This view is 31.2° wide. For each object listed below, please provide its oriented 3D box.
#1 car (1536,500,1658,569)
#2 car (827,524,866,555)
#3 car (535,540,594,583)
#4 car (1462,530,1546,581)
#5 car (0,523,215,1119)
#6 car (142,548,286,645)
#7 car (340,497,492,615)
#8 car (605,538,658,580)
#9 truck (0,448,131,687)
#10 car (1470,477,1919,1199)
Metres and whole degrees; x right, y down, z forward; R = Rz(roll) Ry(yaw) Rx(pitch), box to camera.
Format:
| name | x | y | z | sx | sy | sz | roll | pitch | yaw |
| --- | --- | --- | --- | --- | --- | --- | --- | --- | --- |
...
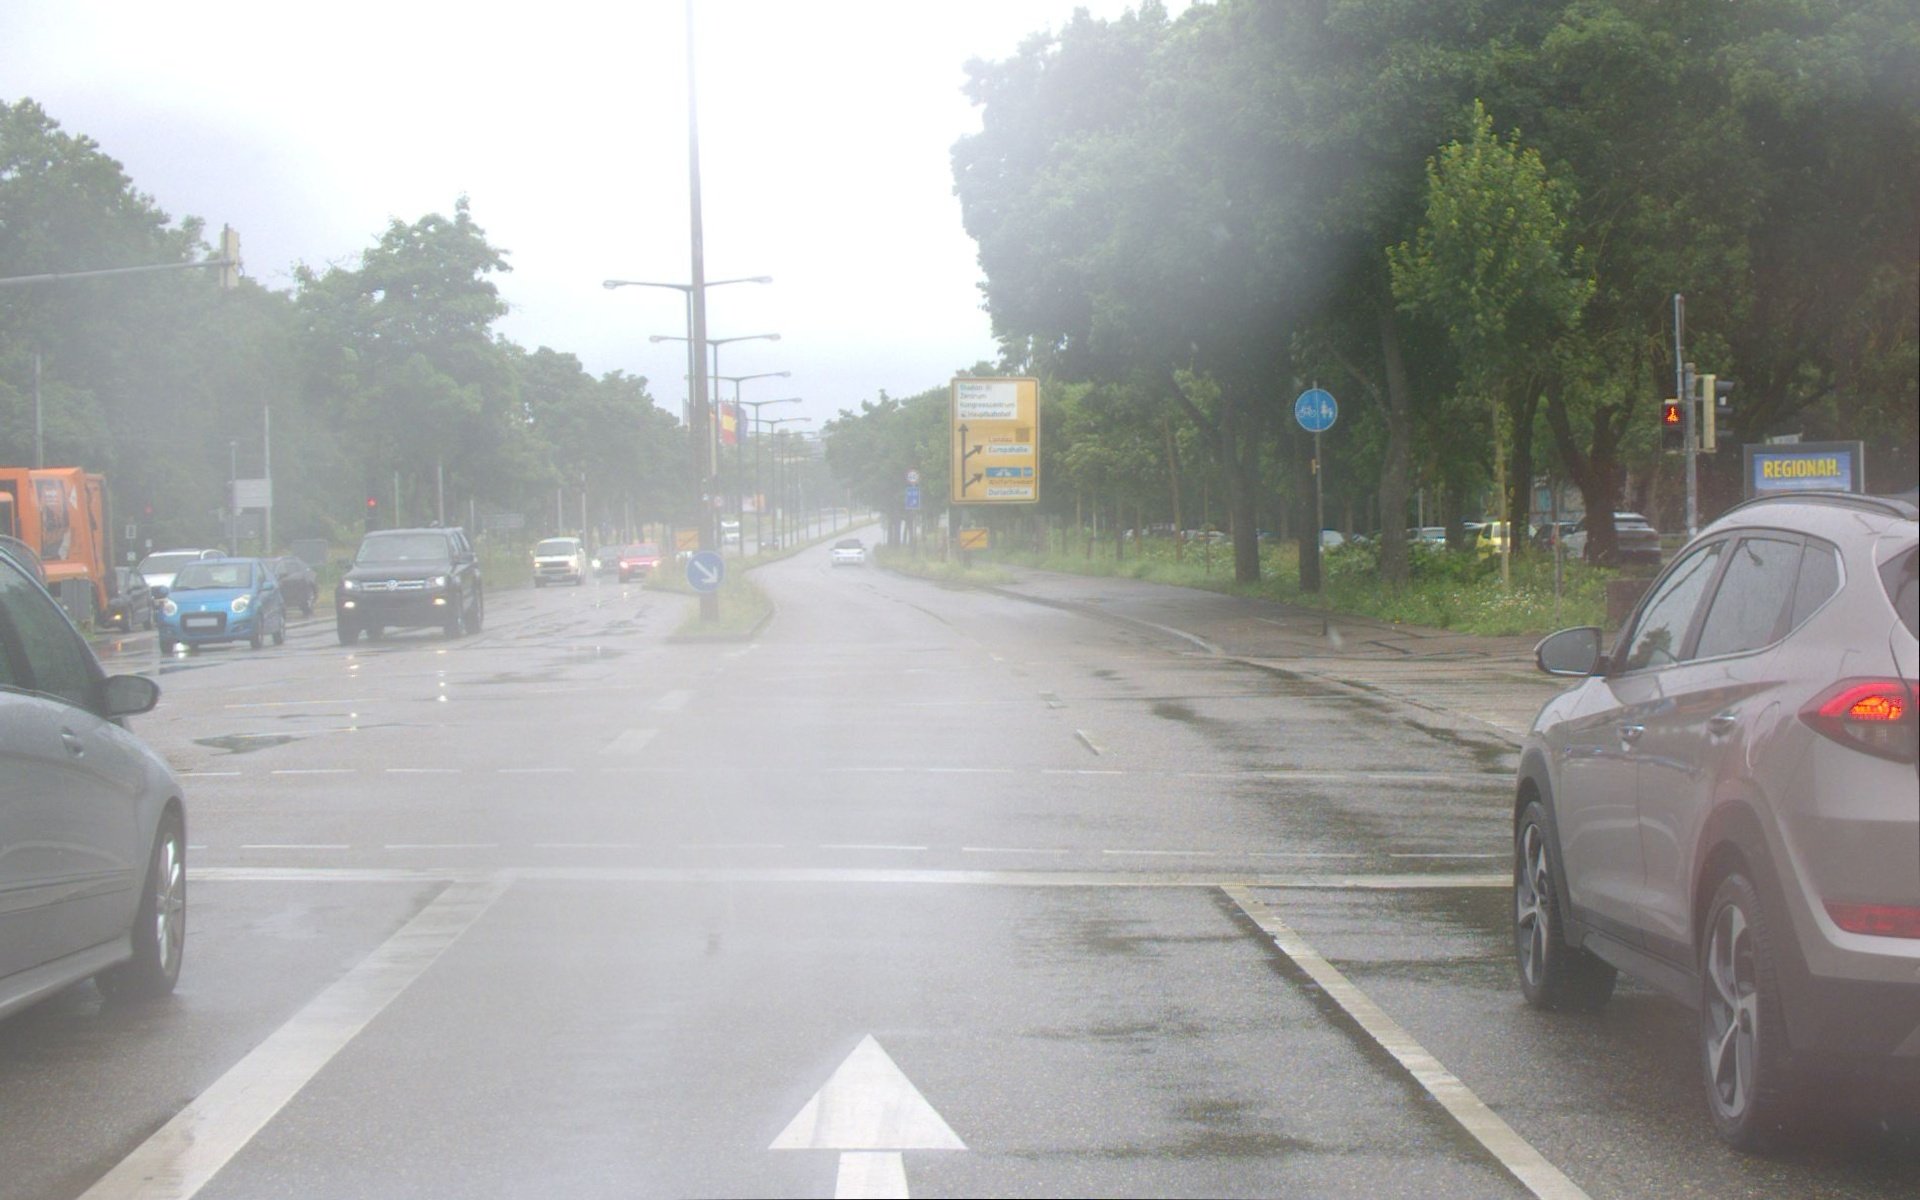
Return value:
| name | x | y | z | sx | sy | sz | roll | pitch | yaw |
| --- | --- | --- | --- | --- | --- | --- | --- | --- | --- |
| car | 16.836 | -1.721 | 91.130 | 1.993 | 1.711 | 4.879 | -2 | 1 | -4 |
| car | -5.752 | -3.093 | 175.236 | 1.907 | 1.509 | 4.000 | -1 | 1 | -1 |
| car | -15.660 | -1.548 | 136.196 | 1.894 | 1.605 | 4.501 | -1 | 1 | -1 |
| car | 16.577 | -1.357 | 104.980 | 1.637 | 1.481 | 4.073 | 1 | 1 | -4 |
| car | -3.386 | 0.557 | 9.884 | 1.736 | 1.539 | 4.014 | 0 | 1 | -2 |
| car | -12.042 | -0.078 | 55.687 | 1.640 | 1.422 | 4.001 | -3 | 1 | -4 |
| car | -8.911 | -0.745 | 56.625 | 1.805 | 1.767 | 5.090 | -2 | 1 | -2 |
| car | -13.036 | -1.598 | 136.441 | 1.801 | 1.564 | 4.429 | -3 | 0 | -3 |
| truck | -18.426 | -0.645 | 64.874 | 3.384 | 4.153 | 10.407 | 1 | 1 | -2 |
| car | 2.698 | 0.514 | 9.640 | 1.884 | 1.605 | 4.196 | 0 | 1 | 0 |
